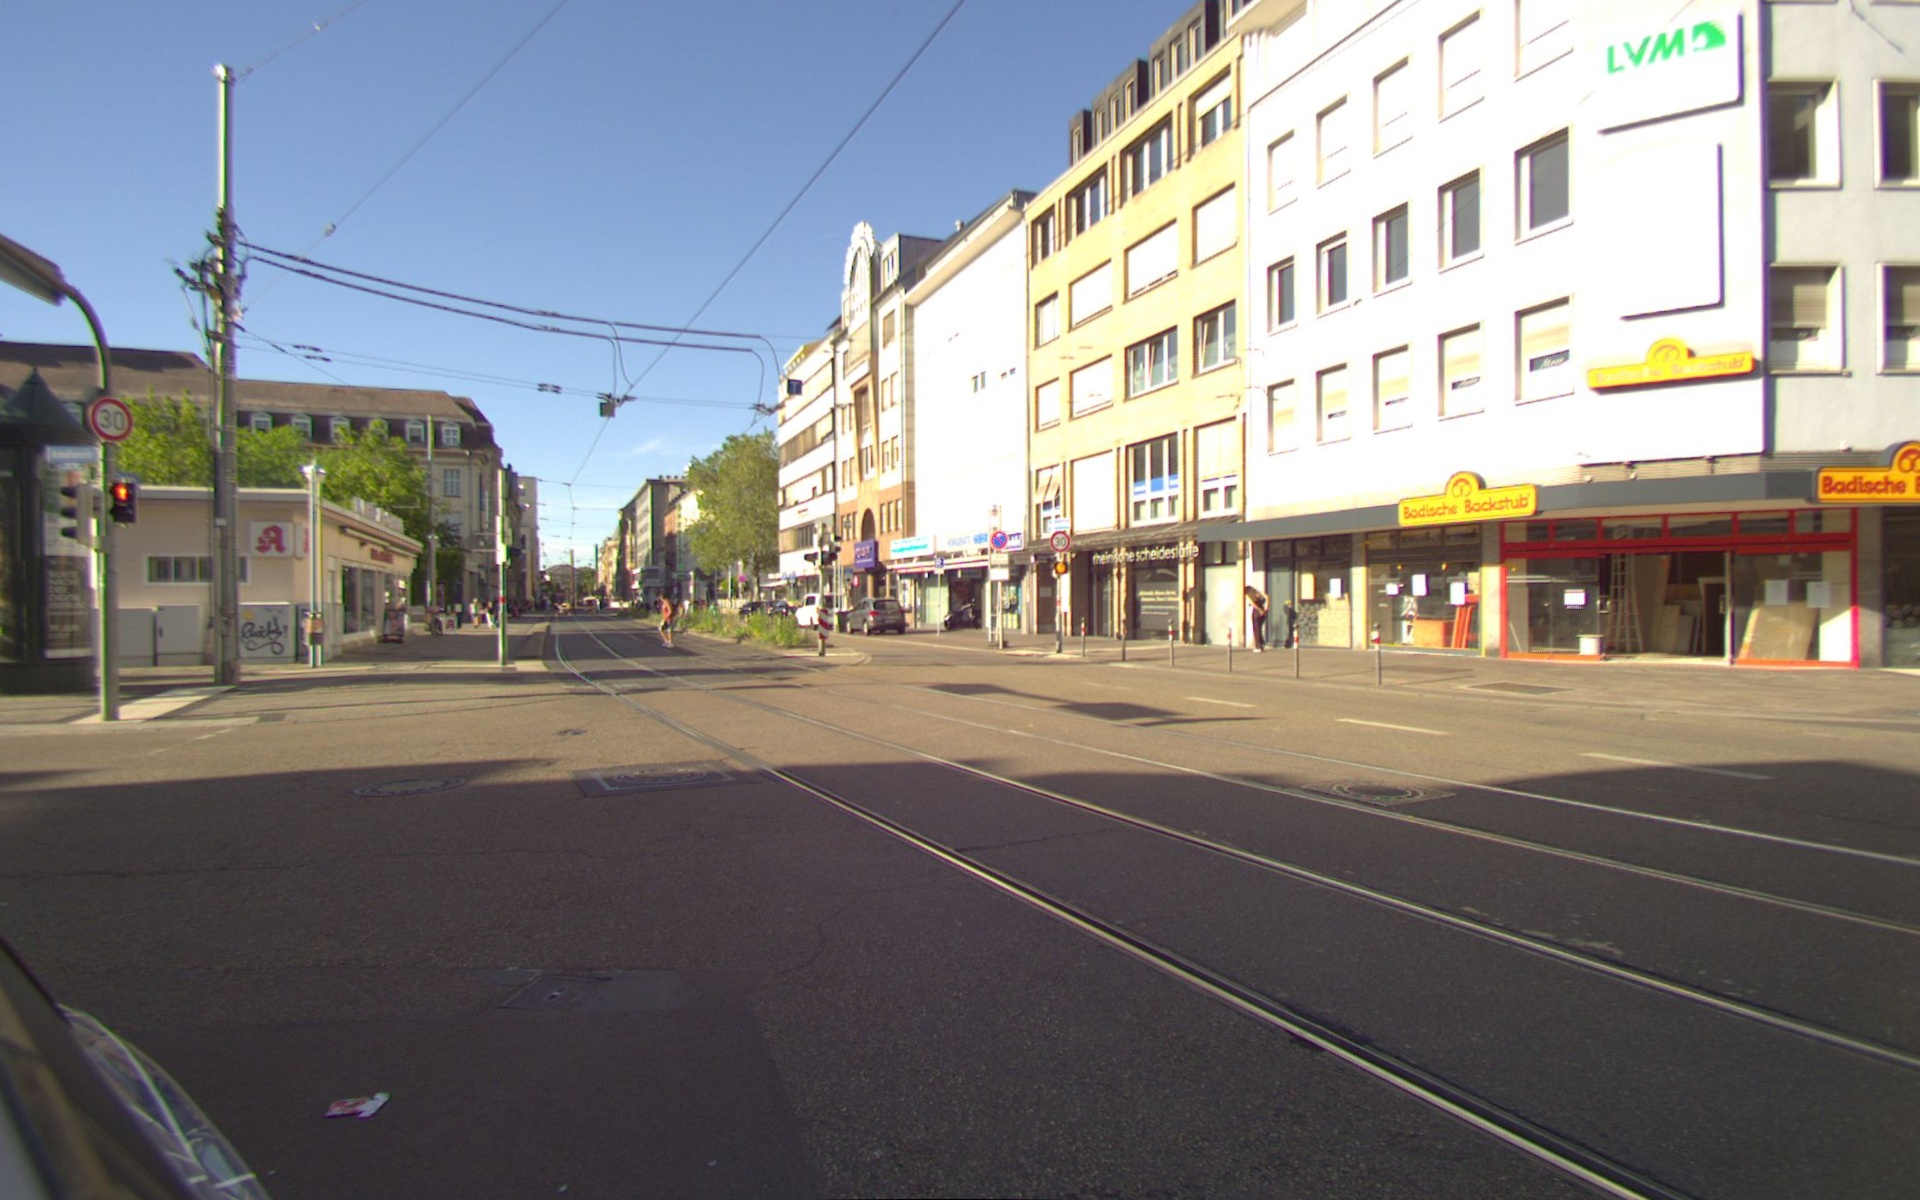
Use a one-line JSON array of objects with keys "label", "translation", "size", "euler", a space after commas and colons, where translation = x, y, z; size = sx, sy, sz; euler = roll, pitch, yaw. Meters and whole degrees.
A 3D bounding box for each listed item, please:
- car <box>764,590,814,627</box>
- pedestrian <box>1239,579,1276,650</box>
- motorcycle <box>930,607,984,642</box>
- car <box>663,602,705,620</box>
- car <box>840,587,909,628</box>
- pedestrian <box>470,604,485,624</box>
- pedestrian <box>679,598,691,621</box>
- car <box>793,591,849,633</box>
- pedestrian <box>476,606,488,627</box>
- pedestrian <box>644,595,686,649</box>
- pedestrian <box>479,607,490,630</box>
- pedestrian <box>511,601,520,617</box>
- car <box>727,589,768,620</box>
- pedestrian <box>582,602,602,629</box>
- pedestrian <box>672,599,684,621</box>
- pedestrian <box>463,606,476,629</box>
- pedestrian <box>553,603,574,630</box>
[{"label": "car", "translation": [-9.832, 0.488, 58.074], "size": [1.965, 2.029, 4.013], "euler": [-1, 0, -22]}, {"label": "pedestrian", "translation": [7.319, 0.358, 24.897], "size": [0.702, 1.722, 0.560], "euler": [-1, -1, -1]}, {"label": "motorcycle", "translation": [-0.136, 1.101, 46.471], "size": [2.216, 1.516, 1.003], "euler": [-1, 0, -25]}, {"label": "car", "translation": [-28.468, 1.105, 104.257], "size": [3.931, 1.811, 2.006], "euler": [-1, 0, -21]}, {"label": "car", "translation": [-3.880, 0.325, 45.384], "size": [1.965, 1.719, 4.013], "euler": [-1, 0, -22]}, {"label": "pedestrian", "translation": [-34.991, 1.009, 73.391], "size": [0.931, 1.476, 0.782], "euler": [-1, 0, -20]}, {"label": "pedestrian", "translation": [-21.156, 0.707, 77.839], "size": [0.576, 1.728, 0.701], "euler": [-1, 0, 21]}, {"label": "car", "translation": [-7.315, 0.609, 52.957], "size": [1.966, 2.029, 4.857], "euler": [-1, 0, -19]}, {"label": "pedestrian", "translation": [-31.049, 1.060, 65.760], "size": [0.679, 1.390, 0.782], "euler": [-1, 0, -28]}, {"label": "pedestrian", "translation": [-9.463, 0.692, 32.439], "size": [0.917, 1.676, 0.932], "euler": [-1, 0, 43]}, {"label": "pedestrian", "translation": [-27.408, 1.069, 58.336], "size": [0.501, 1.283, 0.722], "euler": [-1, 0, -27]}, {"label": "pedestrian", "translation": [-39.832, 0.811, 90.686], "size": [0.679, 1.390, 0.782], "euler": [-1, 0, -21]}, {"label": "car", "translation": [-14.415, 0.317, 68.432], "size": [1.965, 2.029, 4.013], "euler": [-1, 0, -22]}, {"label": "pedestrian", "translation": [-39.152, 1.659, 107.584], "size": [1.809, 2.811, 1.296], "euler": [-1, 0, -13]}, {"label": "pedestrian", "translation": [-21.768, 0.757, 78.041], "size": [0.576, 1.637, 0.701], "euler": [-1, 0, 21]}, {"label": "pedestrian", "translation": [-27.903, 0.984, 57.533], "size": [0.612, 1.283, 0.782], "euler": [-1, 0, -28]}, {"label": "pedestrian", "translation": [-41.454, 1.720, 105.805], "size": [1.919, 2.811, 1.382], "euler": [-1, 0, -13]}]
